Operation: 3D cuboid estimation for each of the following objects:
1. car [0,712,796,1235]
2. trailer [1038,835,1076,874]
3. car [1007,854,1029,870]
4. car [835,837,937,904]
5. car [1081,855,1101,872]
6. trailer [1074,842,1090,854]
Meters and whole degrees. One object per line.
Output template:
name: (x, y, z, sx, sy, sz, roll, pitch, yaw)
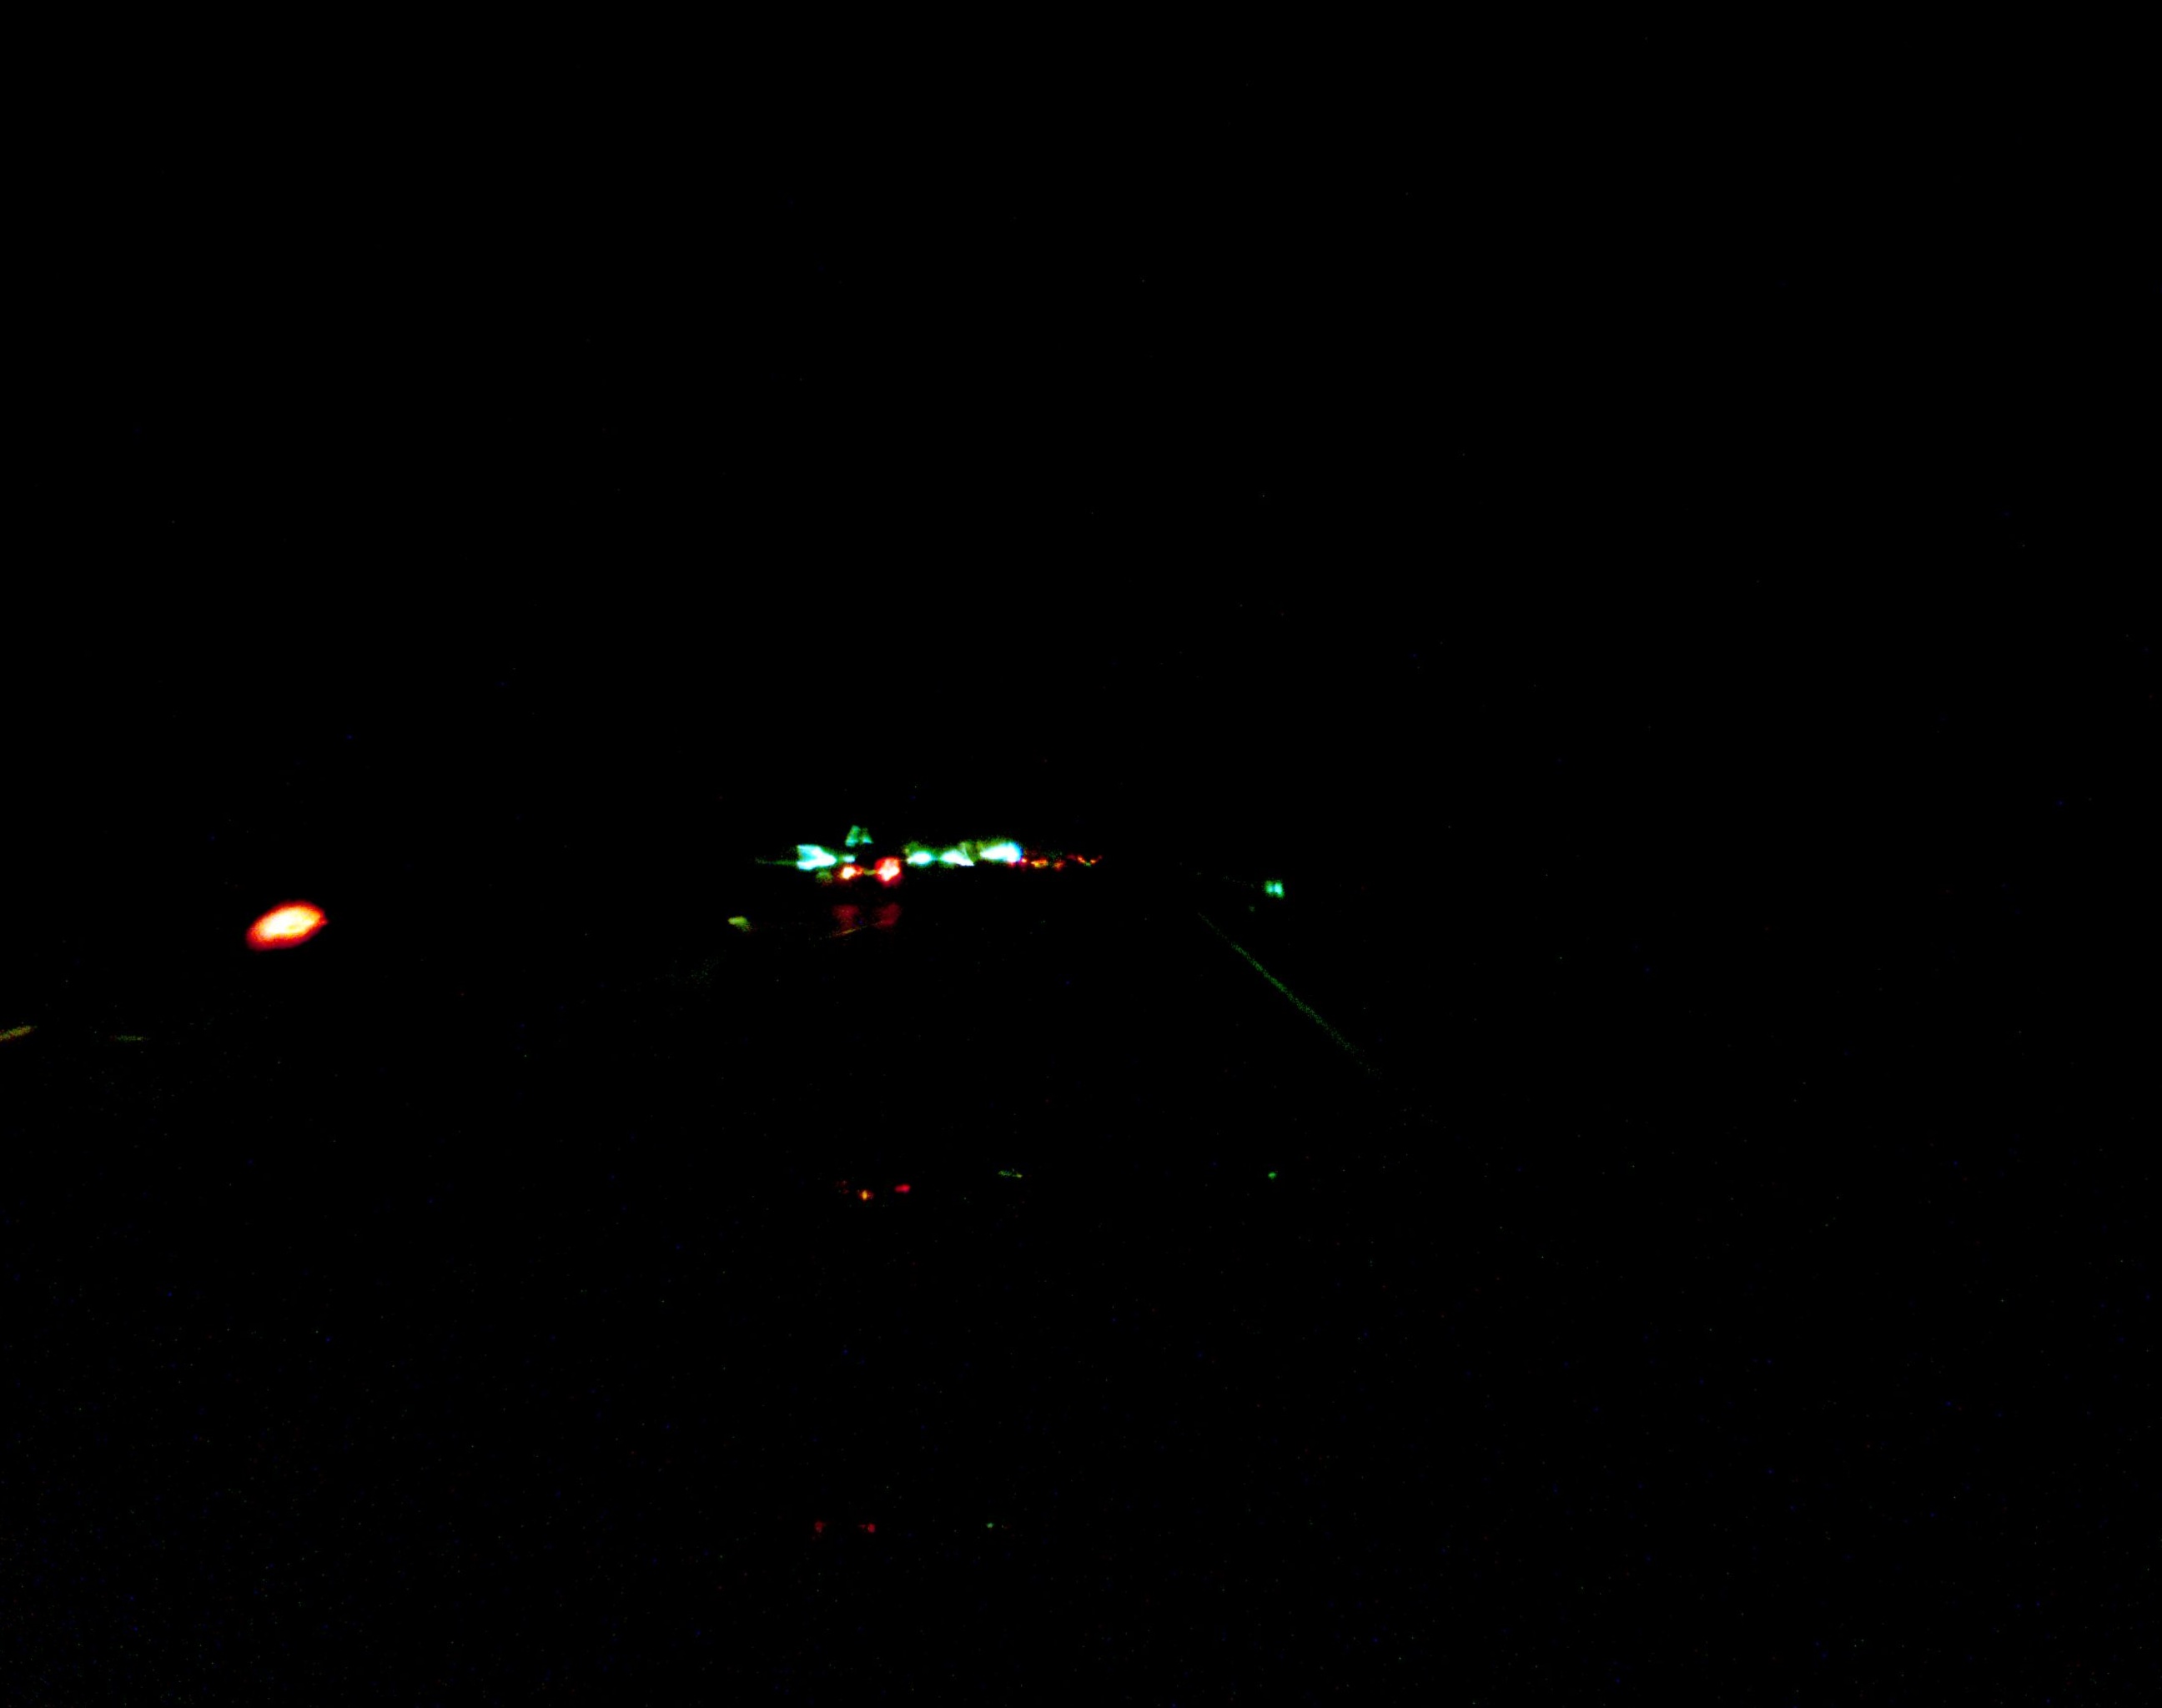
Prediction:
car: (-4.048, 0.468, 5.703, 1.984, 2.014, 5.023, 0, 0, 4)
trailer: (-2.401, 0.098, 86.866, 2.580, 3.725, 13.665, 4, 0, 4)
car: (-7.071, 0.913, 91.220, 1.987, 1.618, 4.001, 3, 0, 1)
car: (-6.658, 0.546, 28.343, 1.984, 2.013, 4.573, 3, 0, 5)
car: (1.262, 1.133, 98.716, 1.984, 1.818, 4.005, 3, 0, 5)
trailer: (0.353, -1.597, 208.878, 2.674, 2.699, 12.875, 3, 0, 5)
